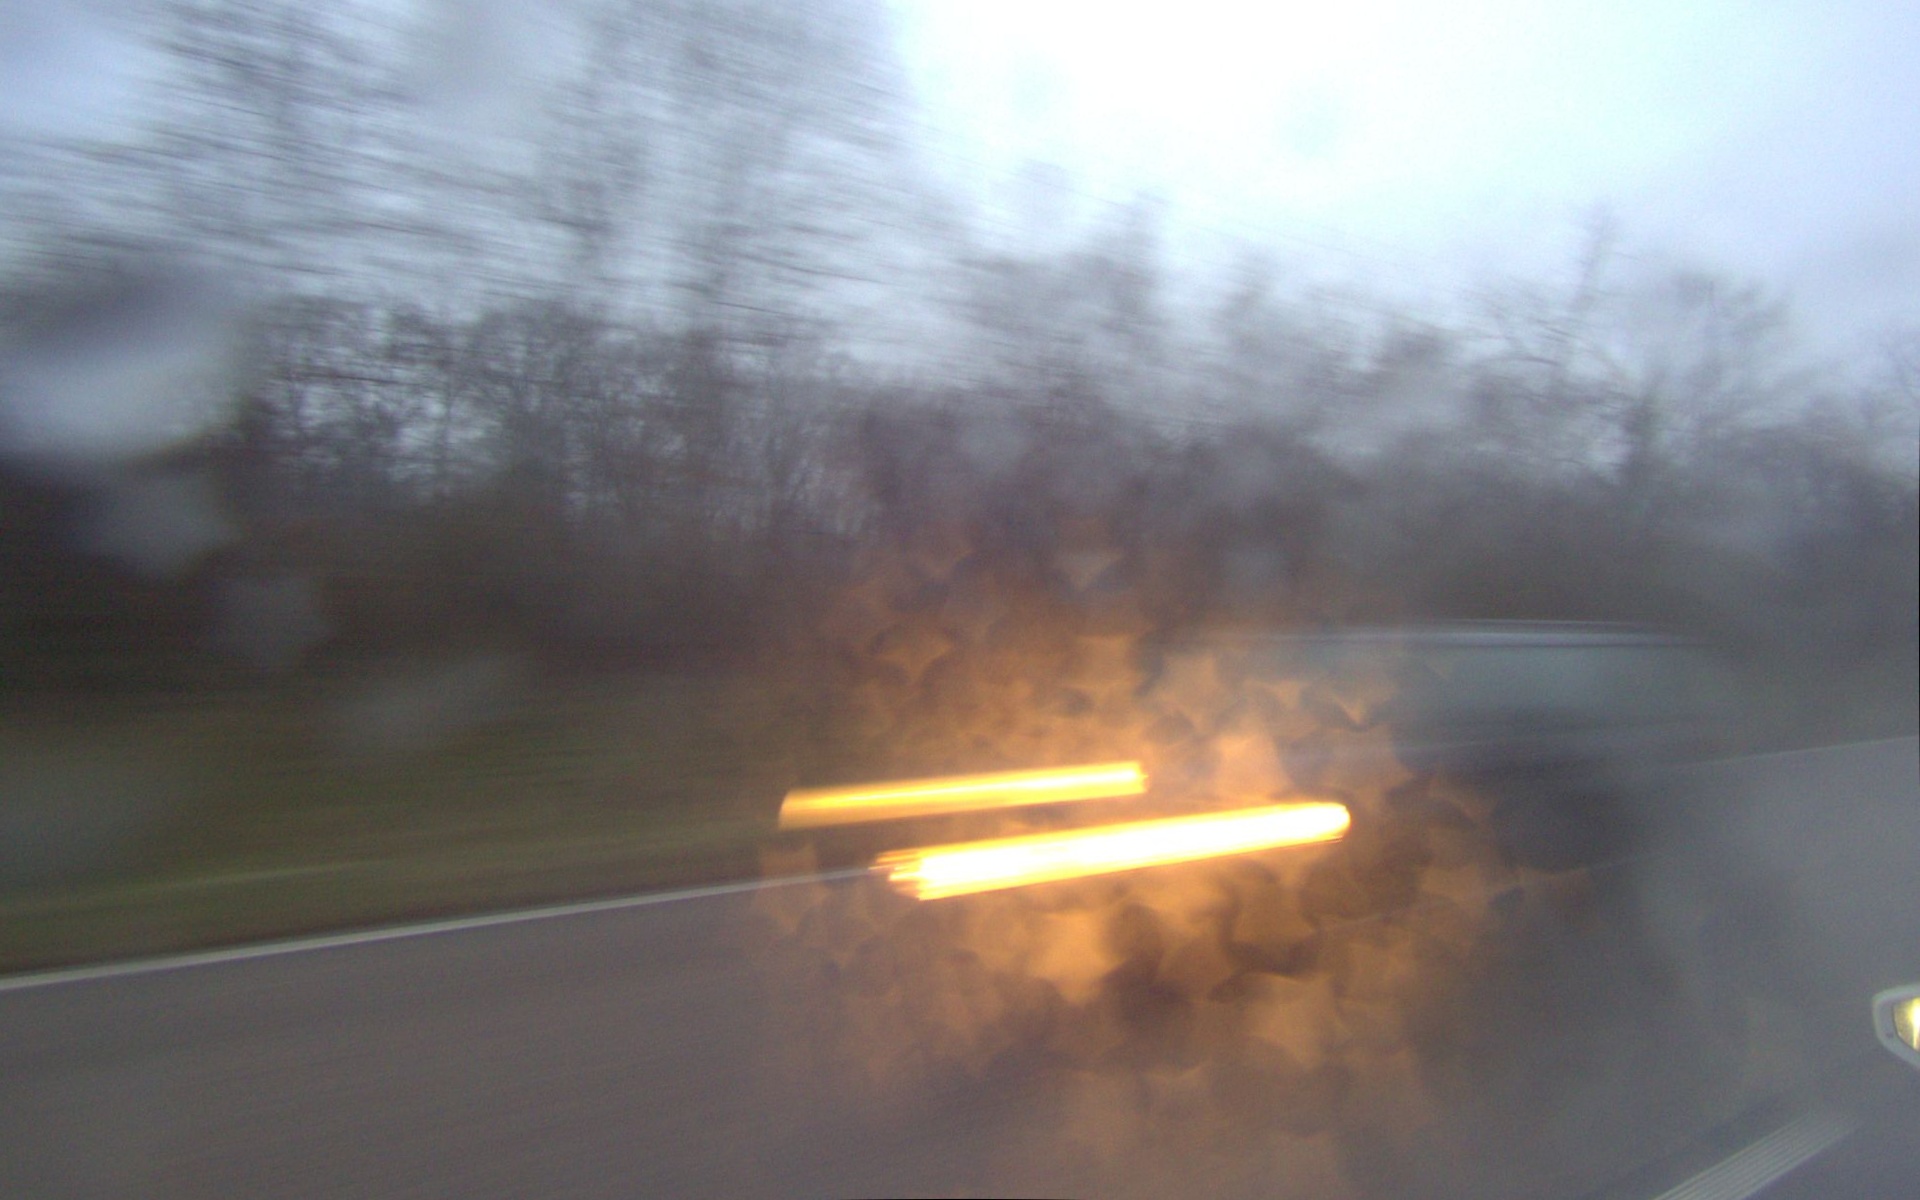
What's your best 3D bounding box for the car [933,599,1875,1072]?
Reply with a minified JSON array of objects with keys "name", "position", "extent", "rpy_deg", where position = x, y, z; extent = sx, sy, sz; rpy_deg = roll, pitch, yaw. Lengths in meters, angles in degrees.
[{"name":"car","position":[2.708,0.807,5.394],"extent":[5.598,1.515,1.690],"rpy_deg":[1,0,-31]}]
